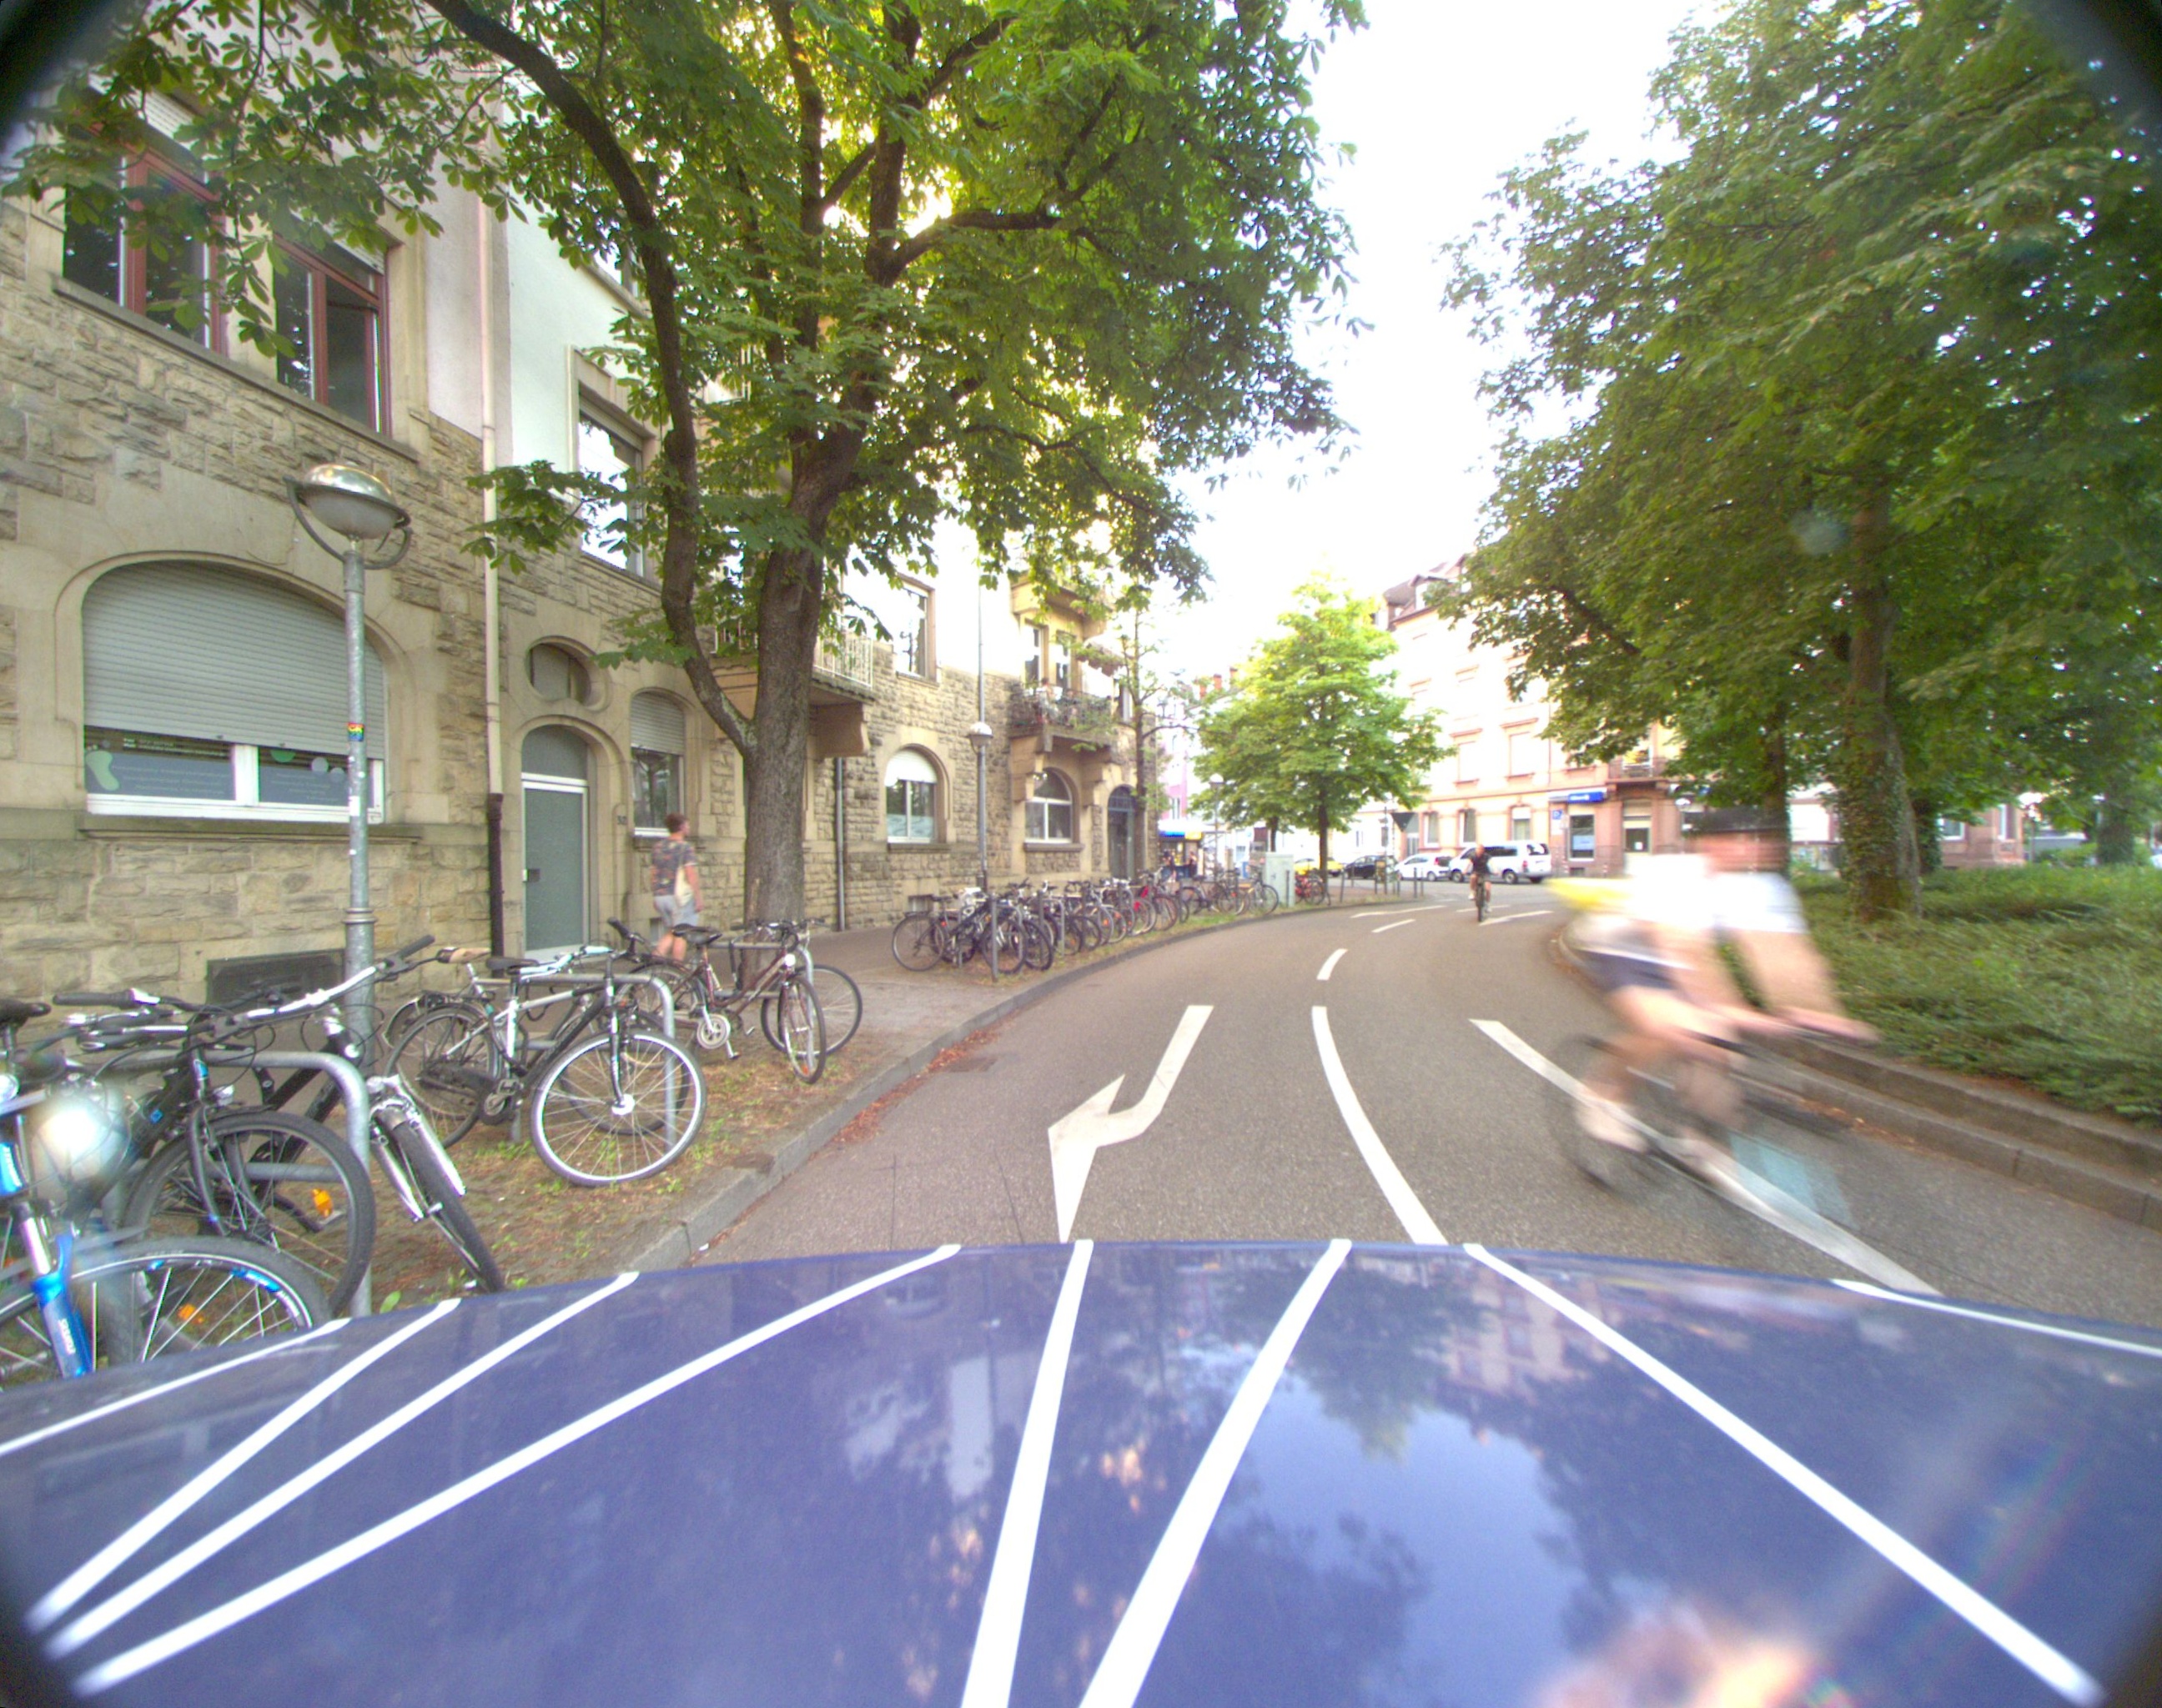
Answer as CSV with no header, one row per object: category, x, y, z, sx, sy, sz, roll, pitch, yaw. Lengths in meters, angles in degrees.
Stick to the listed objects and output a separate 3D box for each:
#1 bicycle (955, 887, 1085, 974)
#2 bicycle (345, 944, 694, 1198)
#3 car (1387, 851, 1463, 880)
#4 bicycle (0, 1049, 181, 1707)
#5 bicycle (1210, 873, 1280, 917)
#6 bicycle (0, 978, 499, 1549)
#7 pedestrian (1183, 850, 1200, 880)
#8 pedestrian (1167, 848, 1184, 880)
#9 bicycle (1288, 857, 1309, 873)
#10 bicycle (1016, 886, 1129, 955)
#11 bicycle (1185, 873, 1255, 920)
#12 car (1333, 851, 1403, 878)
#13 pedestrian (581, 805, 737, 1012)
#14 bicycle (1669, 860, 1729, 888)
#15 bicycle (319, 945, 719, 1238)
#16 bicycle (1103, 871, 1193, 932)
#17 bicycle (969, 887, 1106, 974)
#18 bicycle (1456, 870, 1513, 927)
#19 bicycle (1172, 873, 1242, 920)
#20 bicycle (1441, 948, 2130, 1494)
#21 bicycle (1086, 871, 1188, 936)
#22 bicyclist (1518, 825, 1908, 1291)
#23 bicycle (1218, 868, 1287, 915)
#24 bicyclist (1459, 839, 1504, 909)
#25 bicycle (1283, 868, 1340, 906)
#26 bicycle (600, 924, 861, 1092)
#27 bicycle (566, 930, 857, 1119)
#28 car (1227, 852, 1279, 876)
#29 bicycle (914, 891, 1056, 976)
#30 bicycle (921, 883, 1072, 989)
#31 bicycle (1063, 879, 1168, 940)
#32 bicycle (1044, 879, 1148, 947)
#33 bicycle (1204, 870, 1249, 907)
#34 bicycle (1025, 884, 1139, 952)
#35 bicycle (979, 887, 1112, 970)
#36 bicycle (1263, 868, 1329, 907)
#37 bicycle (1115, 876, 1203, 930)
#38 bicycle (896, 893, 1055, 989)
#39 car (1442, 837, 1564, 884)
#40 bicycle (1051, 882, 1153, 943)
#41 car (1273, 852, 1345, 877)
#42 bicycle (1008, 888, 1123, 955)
bicycle,-0.881,1.055,10.796,1.851,1.138,0.419,0,1,24
bicycle,-2.896,1.051,3.932,1.672,1.072,0.487,0,1,14
car,18.716,0.614,41.493,1.691,1.483,3.607,-2,1,-22
bicycle,-2.928,1.013,1.445,1.889,1.156,0.641,0,1,8
bicycle,4.055,0.999,18.806,1.603,1.014,0.556,0,1,36
bicycle,-2.851,1.012,2.203,1.889,1.156,0.705,0,1,8
pedestrian,5.697,0.580,39.030,0.589,1.530,0.680,0,1,39
pedestrian,4.830,0.521,38.839,0.589,1.627,0.680,0,1,39
bicycle,16.182,0.808,56.610,0.481,1.133,1.860,0,0,-20
bicycle,-0.152,1.074,12.552,1.851,1.045,0.419,0,1,24
bicycle,3.329,1.008,18.213,1.603,1.057,0.420,0,1,32
car,16.998,0.607,45.144,1.736,1.483,3.735,-2,1,-25
pedestrian,-4.506,0.547,8.193,1.012,2.073,1.061,1,0,10
bicycle,25.086,0.781,30.866,0.561,1.076,1.793,-2,1,-34
bicycle,-2.610,1.015,3.556,1.672,1.120,0.487,0,-6,15
bicycle,1.366,0.950,15.565,1.792,1.161,0.448,0,1,28
bicycle,-0.640,1.095,11.131,1.851,1.126,0.418,0,20,24
bicycle,8.874,0.946,16.794,0.685,1.144,2.118,-1,0,16
bicycle,2.970,0.987,17.989,1.603,1.069,0.420,0,1,32
bicycle,2.344,1.077,3.029,0.686,1.144,2.114,-1,0,-4
bicycle,1.090,0.947,14.880,1.916,1.193,0.553,0,1,26
bicyclist,2.352,0.664,2.968,0.686,1.503,0.972,-1,0,-4
bicycle,4.312,0.925,19.166,1.603,1.141,0.556,0,1,36
bicyclist,8.915,0.440,16.935,0.685,1.503,0.974,-1,0,16
bicycle,6.653,0.938,21.981,0.433,1.033,1.603,-1,1,-42
bicycle,-2.474,1.062,5.425,1.673,1.072,0.486,0,1,6
bicycle,-2.352,1.058,4.892,1.673,1.072,0.486,0,1,6
car,12.682,0.724,56.263,1.807,1.583,4.138,-3,1,-20
bicycle,-1.289,1.075,10.406,1.854,1.098,0.574,0,1,1
bicycle,-1.103,1.018,9.805,1.880,1.211,0.492,0,7,24
bicycle,0.635,1.013,14.289,1.916,1.058,0.553,0,1,26
bicycle,0.252,1.020,13.499,1.850,1.110,0.420,0,1,28
bicycle,4.191,0.971,21.805,0.431,0.963,1.730,0,1,41
bicycle,0.004,1.065,13.014,1.916,1.055,0.536,0,1,25
bicycle,-0.536,1.097,11.388,1.851,1.088,0.418,0,20,24
bicycle,6.194,0.950,21.932,0.433,1.033,1.894,-1,1,-42
bicycle,1.622,1.005,15.890,1.792,1.057,0.448,0,1,28
bicycle,-1.300,1.071,9.414,1.882,1.132,0.493,-2,-3,11
car,20.227,0.313,36.722,2.049,2.045,4.996,-2,1,-20
bicycle,0.370,1.039,13.805,1.850,1.008,0.420,0,1,28
car,14.974,0.675,50.245,1.846,1.517,4.792,-3,1,-23
bicycle,-0.267,1.066,12.283,1.851,0.994,0.419,0,1,24
